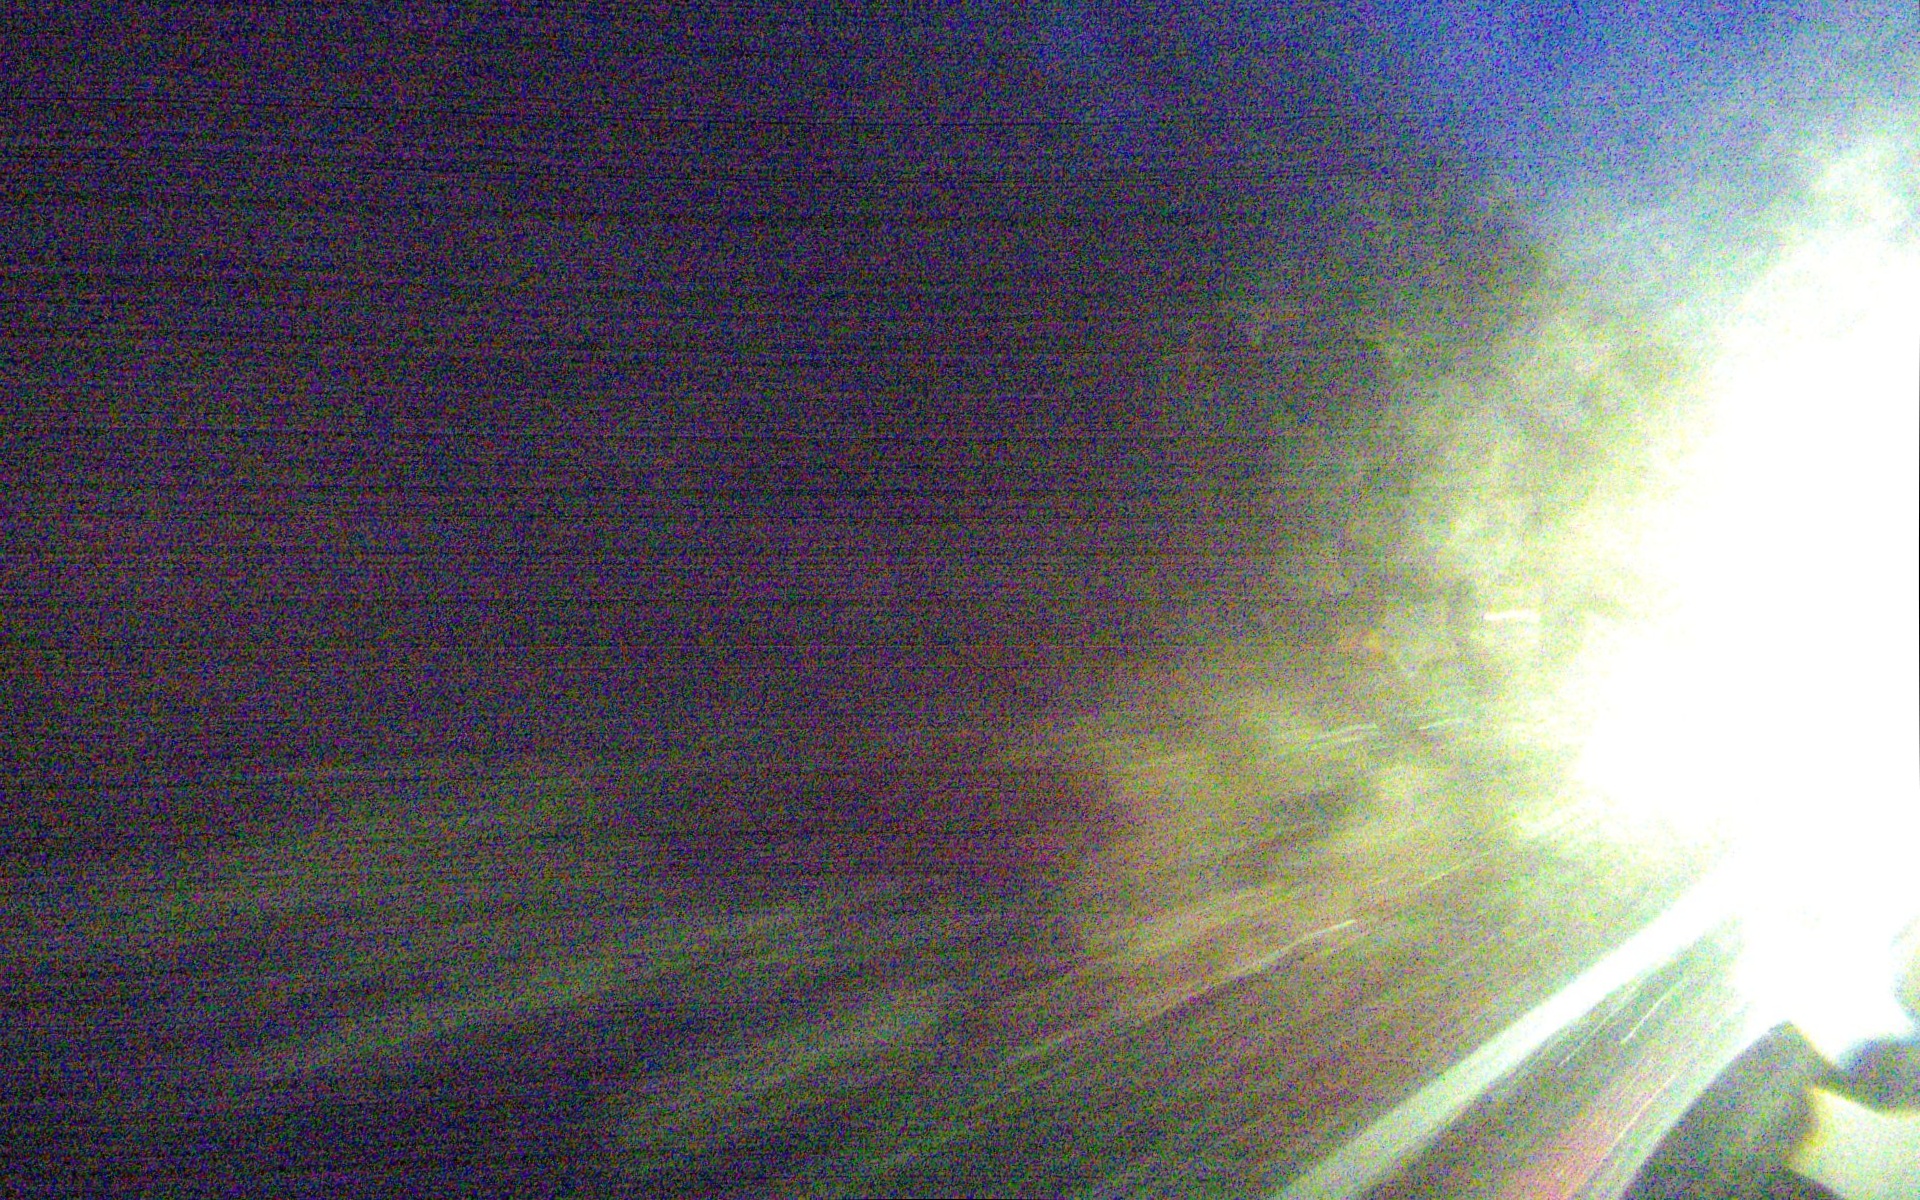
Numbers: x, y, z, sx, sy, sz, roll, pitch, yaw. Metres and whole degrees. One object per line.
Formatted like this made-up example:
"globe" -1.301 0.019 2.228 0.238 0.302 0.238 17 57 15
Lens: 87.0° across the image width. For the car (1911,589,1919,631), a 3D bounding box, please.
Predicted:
"car" 42.518 0.417 43.860 3.933 1.794 1.705 -1 0 -44
